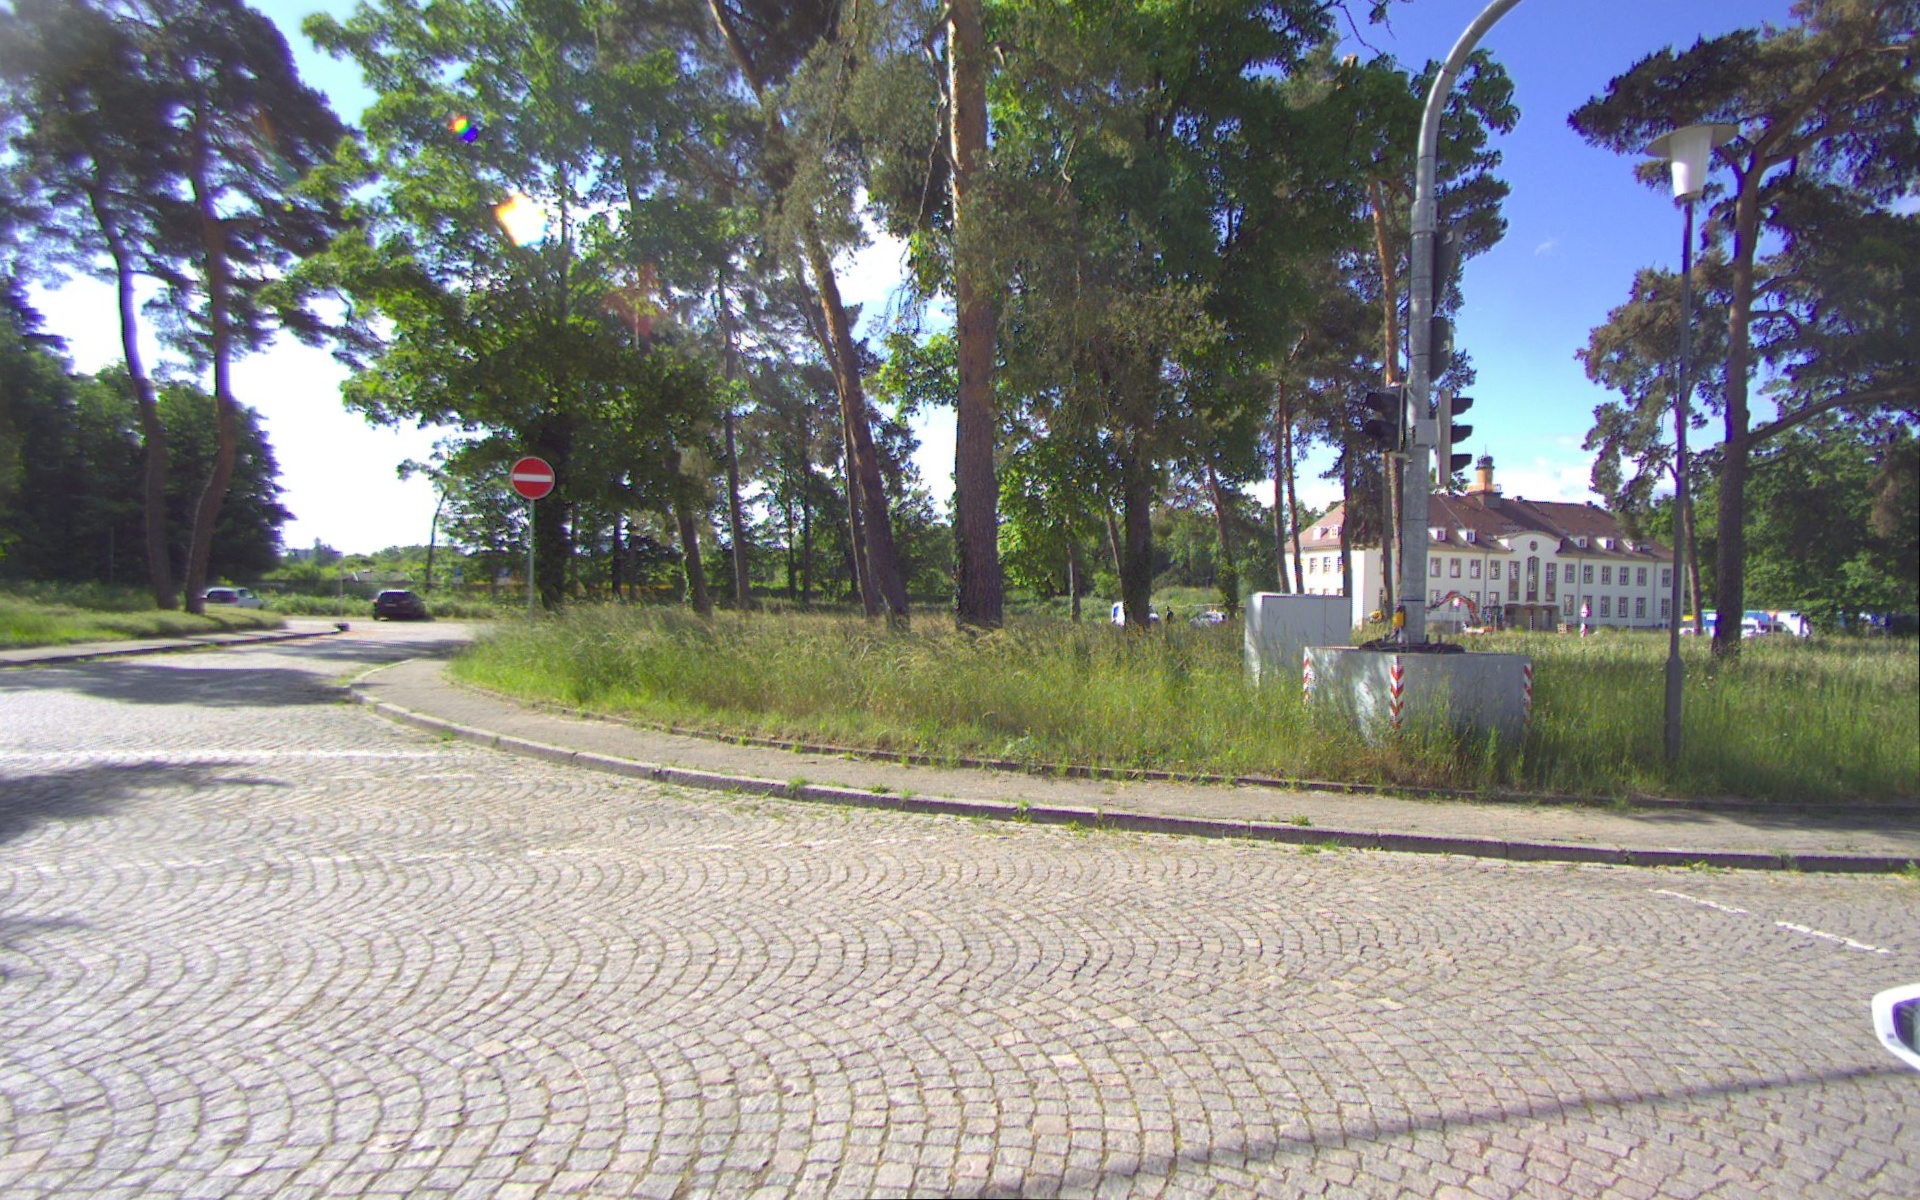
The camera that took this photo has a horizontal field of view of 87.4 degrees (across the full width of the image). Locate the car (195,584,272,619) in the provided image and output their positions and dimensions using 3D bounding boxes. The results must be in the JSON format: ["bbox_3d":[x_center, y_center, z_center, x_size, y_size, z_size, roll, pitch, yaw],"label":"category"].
[{"bbox_3d":[-36.121,0.079,50.050,1.691,1.602,4.096,1,-1,-15],"label":"car"}]

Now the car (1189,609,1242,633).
[{"bbox_3d":[18.449,1.532,72.634,1.881,1.626,4.229,2,-1,-15],"label":"car"}]

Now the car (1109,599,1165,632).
[{"bbox_3d":[12.378,1.075,70.513,1.925,2.193,4.846,1,-1,-15],"label":"car"}]

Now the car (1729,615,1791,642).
[{"bbox_3d":[76.273,2.713,95.799,5.190,2.469,1.984,2,0,-16],"label":"car"}]

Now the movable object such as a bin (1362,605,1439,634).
[{"bbox_3d":[36.106,1.596,82.373,5.577,2.154,2.524,1,-1,30],"label":"movable object such as a bin"}]

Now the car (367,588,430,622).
[{"bbox_3d":[-28.837,0.277,51.744,1.810,1.651,4.048,1,-1,-14],"label":"car"}]

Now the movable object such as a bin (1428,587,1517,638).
[{"bbox_3d":[39.848,1.000,78.080,6.738,3.781,3.884,2,-1,-41],"label":"movable object such as a bin"}]
